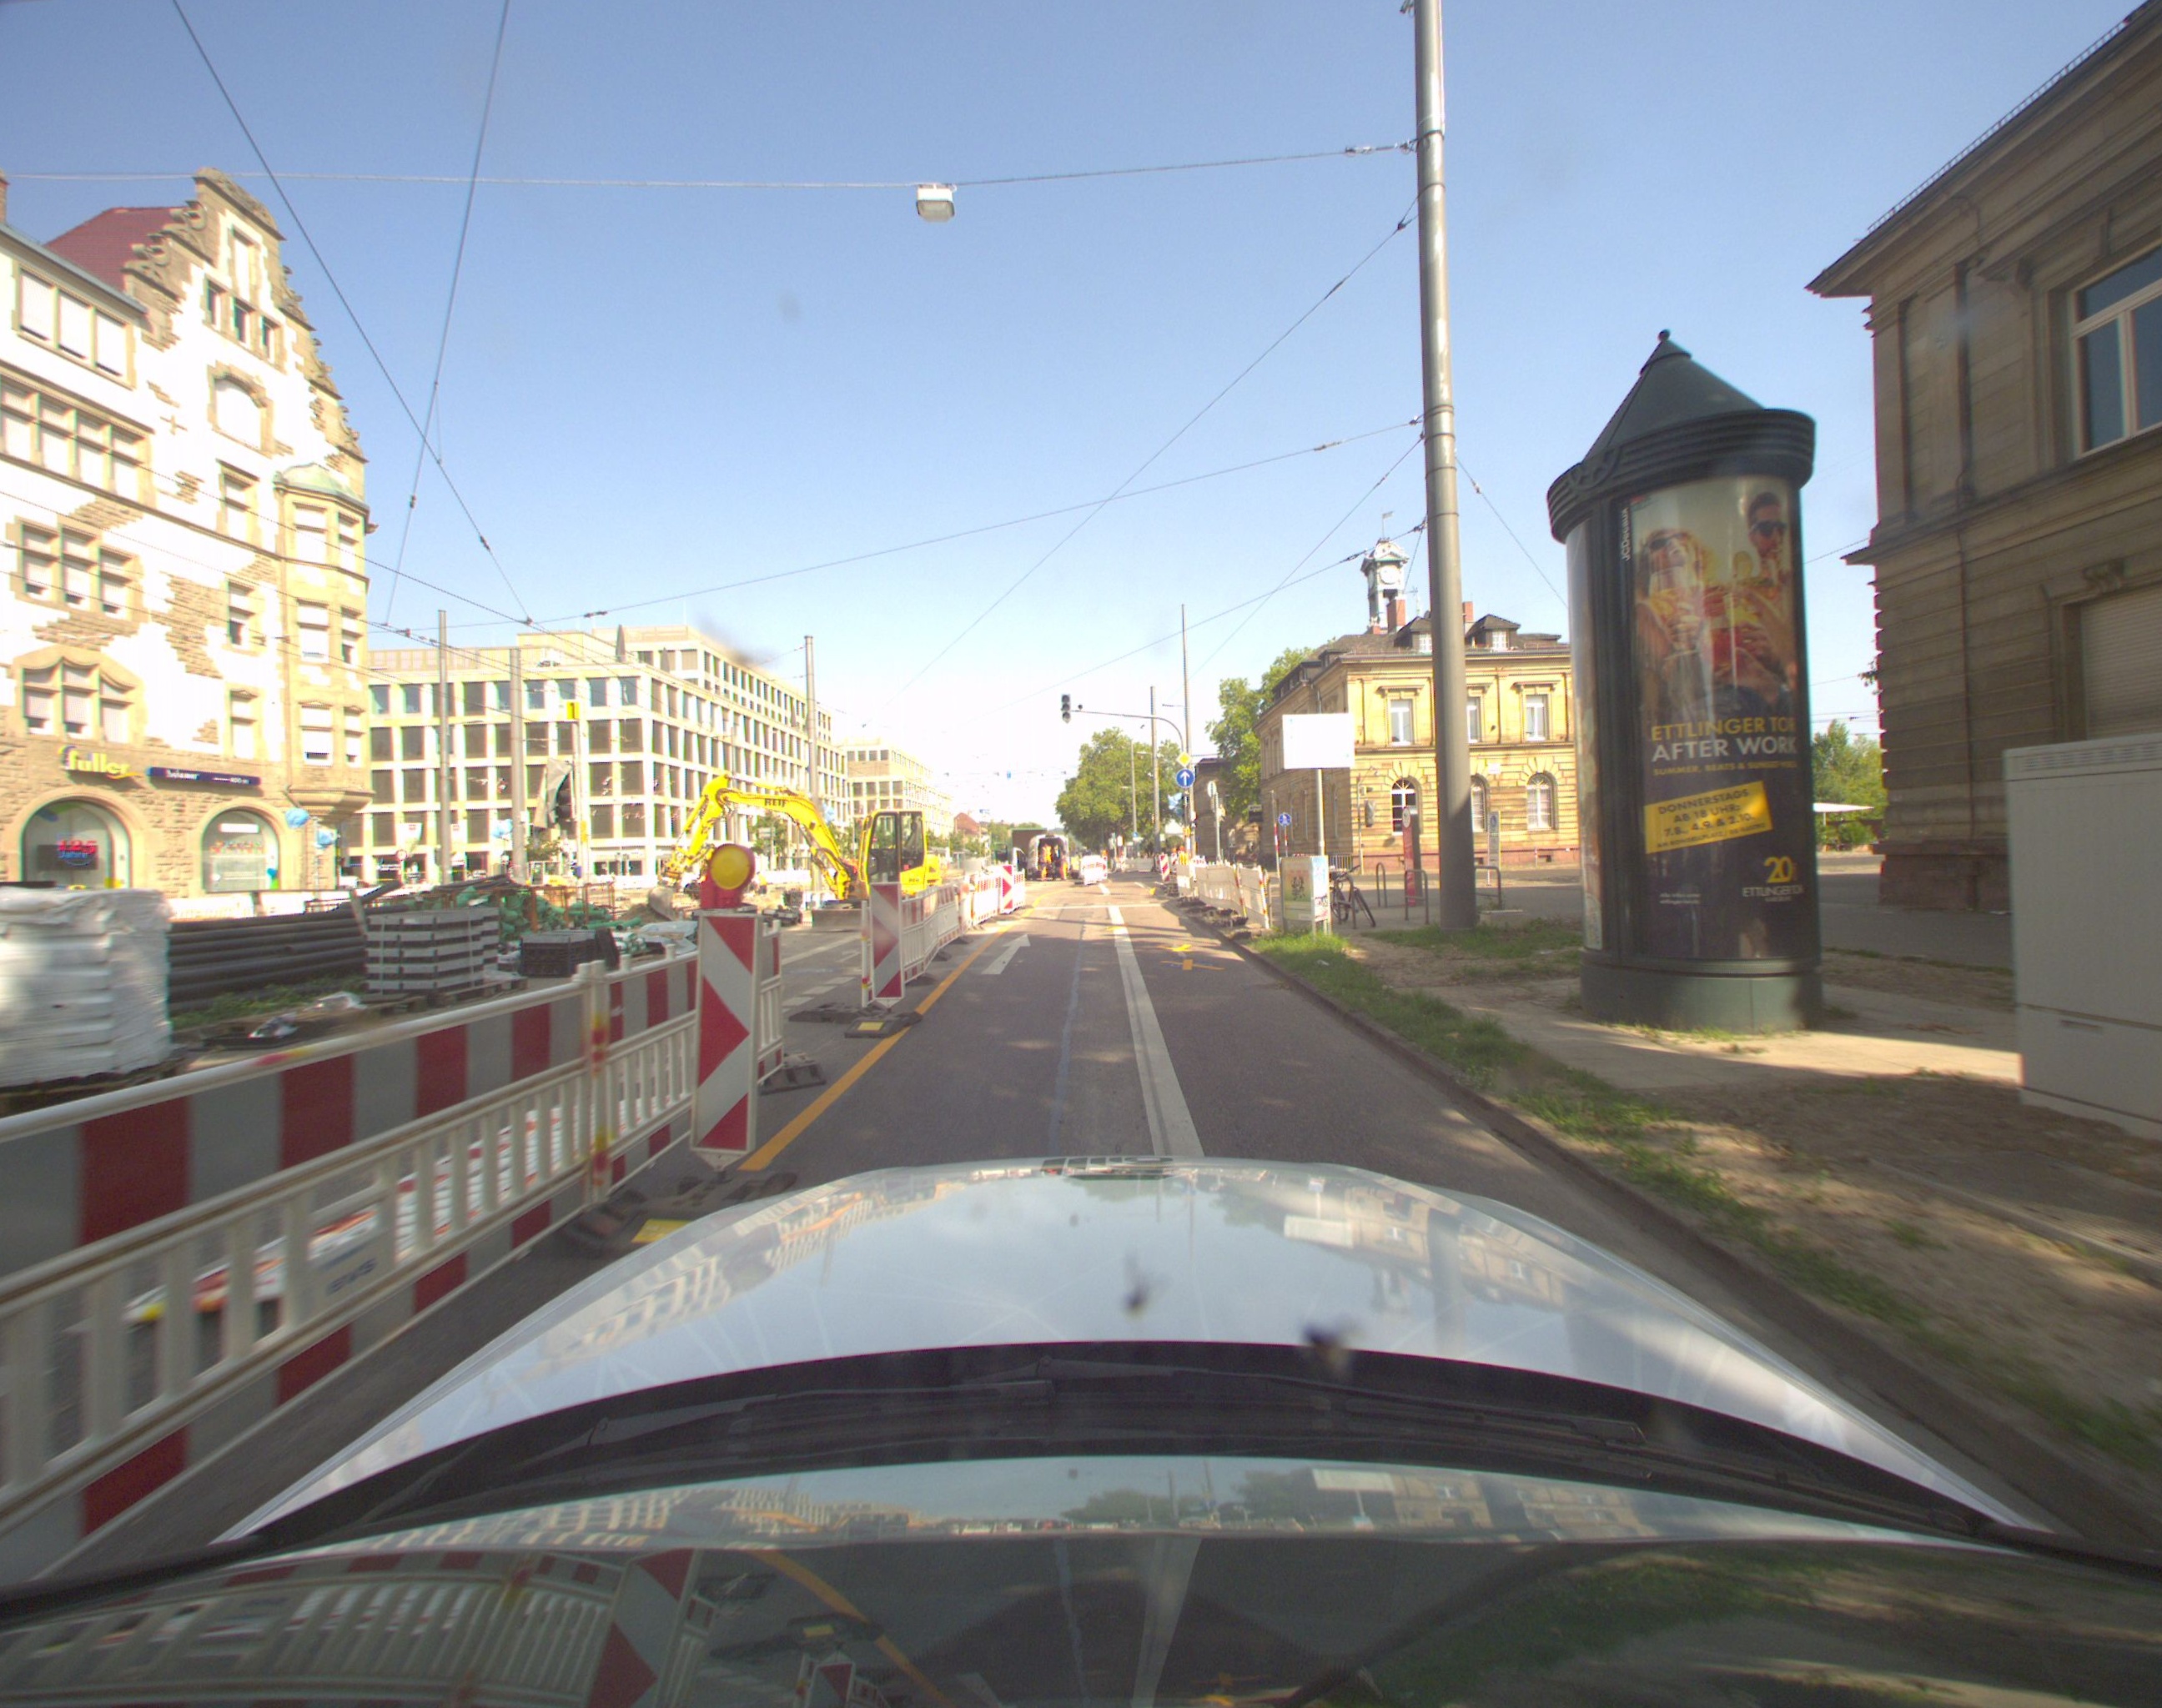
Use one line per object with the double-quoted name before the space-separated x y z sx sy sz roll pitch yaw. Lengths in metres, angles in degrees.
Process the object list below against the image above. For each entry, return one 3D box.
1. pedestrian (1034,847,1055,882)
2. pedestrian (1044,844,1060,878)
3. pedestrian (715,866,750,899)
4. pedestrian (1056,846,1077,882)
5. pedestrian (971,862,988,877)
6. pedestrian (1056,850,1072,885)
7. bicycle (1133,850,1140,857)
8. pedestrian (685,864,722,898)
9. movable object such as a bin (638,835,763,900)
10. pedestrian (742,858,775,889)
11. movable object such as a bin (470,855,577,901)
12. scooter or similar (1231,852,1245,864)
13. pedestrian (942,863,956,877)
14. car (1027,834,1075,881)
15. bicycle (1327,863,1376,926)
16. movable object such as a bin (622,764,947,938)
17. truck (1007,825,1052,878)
"pedestrian" -2.159 0.640 48.100 0.727 2.014 0.913 -3 -1 32
"pedestrian" -1.777 0.420 49.549 0.730 2.014 0.909 -3 -1 6
"pedestrian" -16.049 1.294 37.508 1.138 1.442 0.918 -2 -1 1
"pedestrian" -0.860 0.569 47.421 0.727 2.014 0.913 -3 -1 34
"pedestrian" -9.455 1.432 75.591 1.300 1.306 0.803 -3 0 25
"pedestrian" -0.986 0.796 48.446 0.730 2.014 0.909 -3 -1 7
"bicycle" 8.446 -0.050 123.876 0.715 1.042 1.902 -2 0 -1
"pedestrian" -16.433 1.162 35.468 1.138 1.442 0.918 -2 -1 1
"movable object such as a bin" -21.692 0.737 47.057 2.835 3.330 8.351 -3 -1 2
"pedestrian" -15.853 0.958 40.097 1.138 1.442 1.021 -2 -1 1
"movable object such as a bin" -37.317 1.590 54.660 5.594 2.739 2.135 -2 -1 0
"scooter or similar" 15.932 0.417 82.597 1.257 1.210 0.419 -4 1 -25
"pedestrian" -12.360 1.504 76.157 1.010 1.306 0.984 -2 0 4
"car" -1.939 0.229 51.034 2.225 2.729 5.151 -2 -1 -11
"bicycle" 4.534 0.652 13.715 0.408 0.987 1.377 -2 0 3
"movable object such as a bin" -6.172 -0.122 17.605 6.162 3.346 2.103 -2 -1 -19
"truck" -4.018 -0.160 62.208 2.672 3.678 8.191 -2 0 -8
